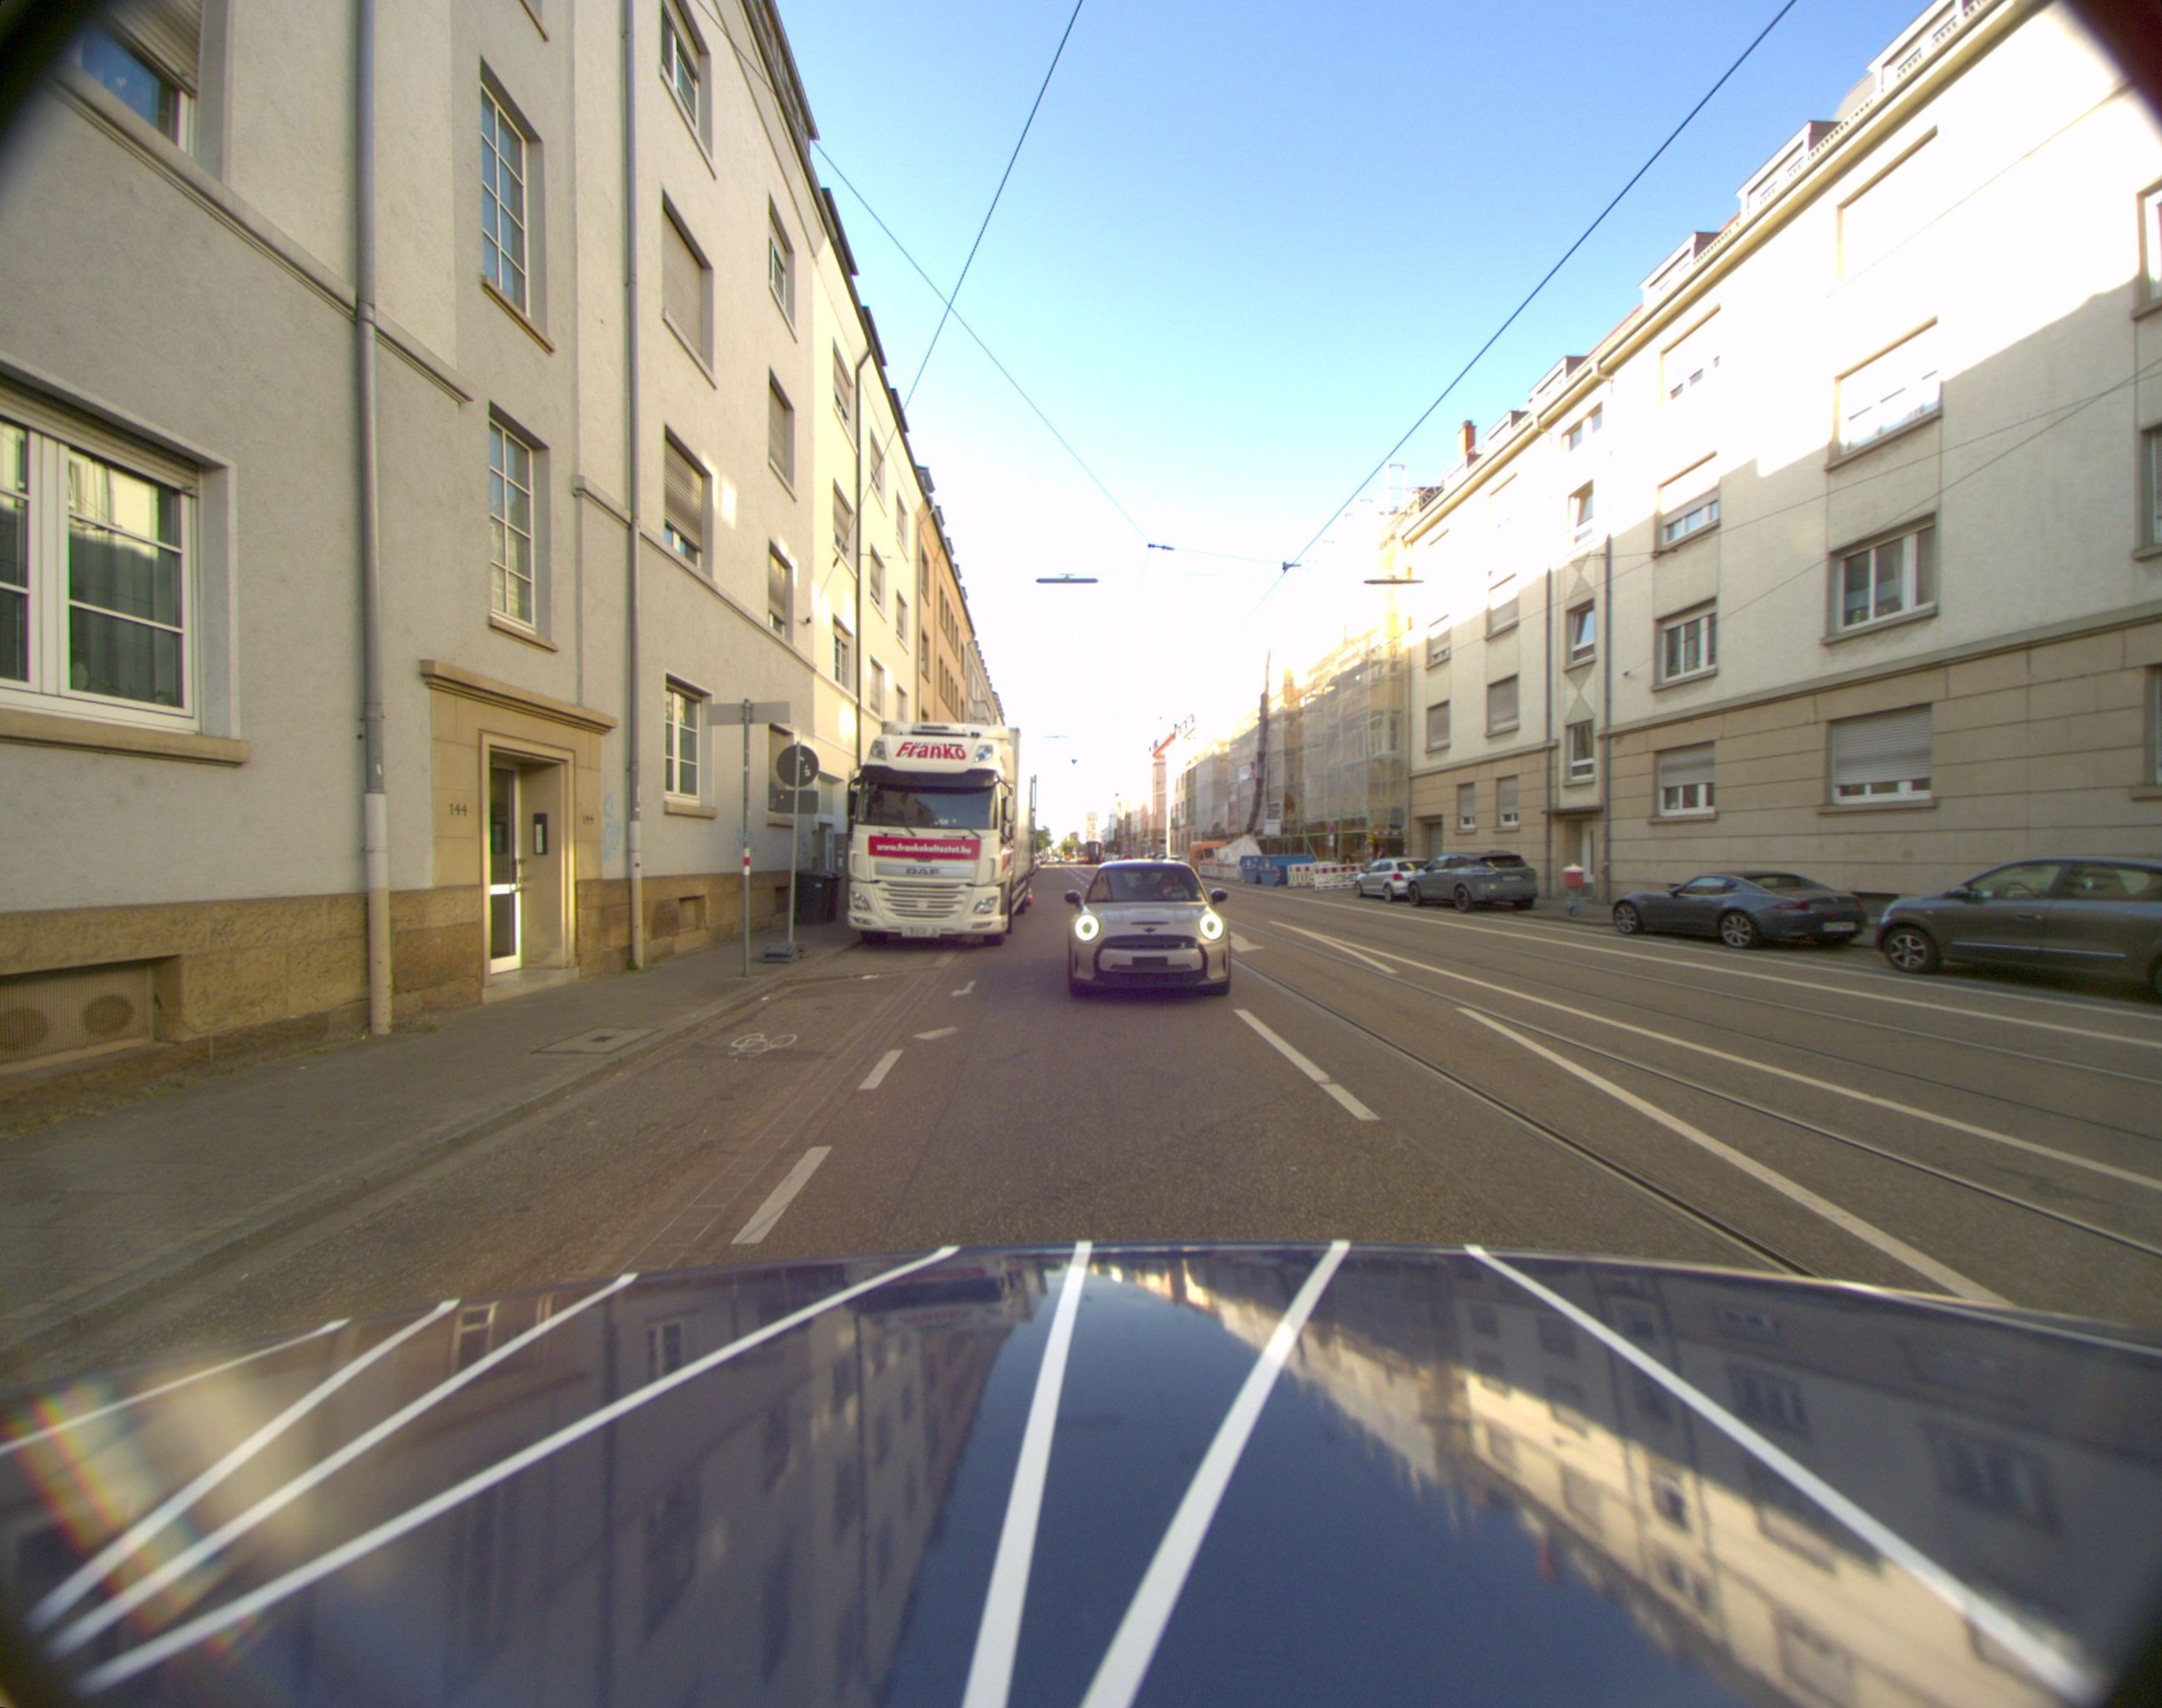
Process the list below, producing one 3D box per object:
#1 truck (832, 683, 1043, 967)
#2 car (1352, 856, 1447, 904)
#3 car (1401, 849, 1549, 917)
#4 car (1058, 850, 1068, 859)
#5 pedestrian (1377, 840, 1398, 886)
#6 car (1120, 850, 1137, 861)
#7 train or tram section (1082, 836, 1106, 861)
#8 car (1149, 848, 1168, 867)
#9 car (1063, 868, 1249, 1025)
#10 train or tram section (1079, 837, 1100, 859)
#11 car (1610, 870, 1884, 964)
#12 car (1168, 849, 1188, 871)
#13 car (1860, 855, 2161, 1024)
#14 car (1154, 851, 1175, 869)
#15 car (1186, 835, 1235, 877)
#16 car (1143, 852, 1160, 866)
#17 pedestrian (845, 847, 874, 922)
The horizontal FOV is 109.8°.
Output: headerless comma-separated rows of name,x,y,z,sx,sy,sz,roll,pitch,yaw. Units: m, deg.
truck,-2.426,-0.544,17.238,2.700,4.214,11.773,0,1,-1
car,10.708,0.822,25.801,1.565,1.372,3.506,-3,1,-3
car,10.912,0.723,21.412,1.752,1.600,4.157,-3,1,-3
car,-3.966,0.135,166.491,1.999,1.871,4.269,-2,1,-3
pedestrian,12.674,0.375,31.434,0.519,1.861,0.762,-2,1,-2
car,7.500,0.185,119.618,2.231,1.518,4.959,-2,1,-1
train or tram section,1.894,-0.910,116.125,2.867,3.542,13.038,0,1,-2
car,8.498,0.367,83.387,1.570,1.945,4.183,-2,1,-1
car,0.703,0.905,9.036,1.727,1.416,3.817,0,0,0
train or tram section,1.368,-1.061,128.417,2.867,3.542,13.330,0,1,-2
car,11.180,0.972,13.096,1.476,1.212,3.522,-3,1,-3
car,9.060,0.493,71.189,1.658,1.911,3.766,-2,1,5
car,11.401,0.852,8.479,1.644,1.549,3.594,-3,1,-2
car,8.456,0.561,77.176,1.570,1.674,3.935,-2,1,-1
car,9.006,0.109,53.495,2.215,2.681,5.871,-2,1,-2
car,8.280,0.570,89.281,1.532,1.518,3.599,-2,1,-1
pedestrian,-4.864,0.657,16.700,0.475,1.620,0.467,0,1,0
